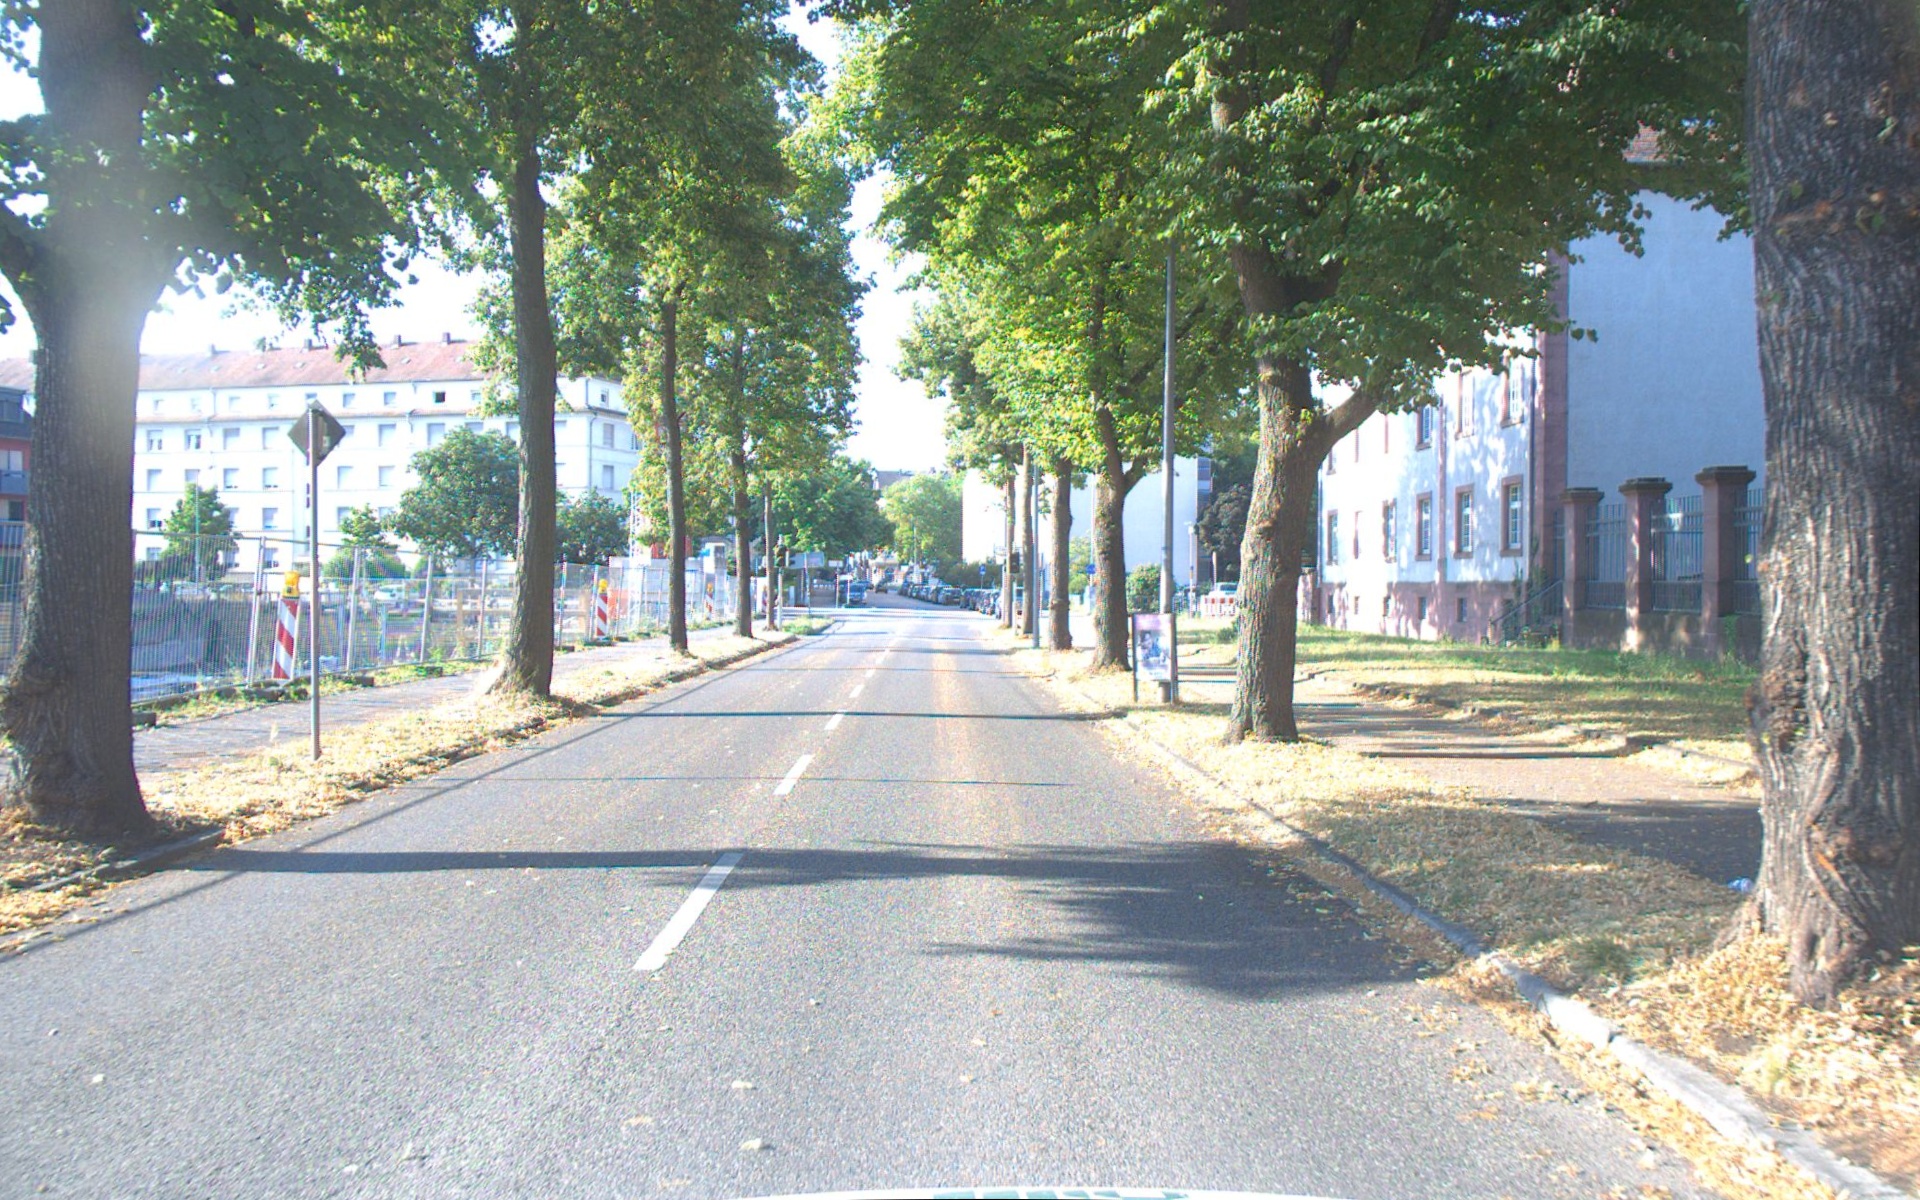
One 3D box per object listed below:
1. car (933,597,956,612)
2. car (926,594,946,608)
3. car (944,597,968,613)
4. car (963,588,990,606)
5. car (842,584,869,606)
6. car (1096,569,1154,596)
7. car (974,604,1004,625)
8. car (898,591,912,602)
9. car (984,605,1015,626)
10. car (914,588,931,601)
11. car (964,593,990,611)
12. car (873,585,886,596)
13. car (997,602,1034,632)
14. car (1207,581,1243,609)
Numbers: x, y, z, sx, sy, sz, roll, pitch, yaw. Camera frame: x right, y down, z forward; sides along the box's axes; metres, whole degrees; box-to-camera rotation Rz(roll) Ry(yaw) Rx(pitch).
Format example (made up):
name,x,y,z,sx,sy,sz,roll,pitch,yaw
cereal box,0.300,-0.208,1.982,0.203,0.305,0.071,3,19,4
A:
name,x,y,z,sx,sy,sz,roll,pitch,yaw
car,-1.471,0.410,155.430,1.805,1.410,3.996,-1,0,-4
car,-2.444,0.104,167.228,1.805,1.410,3.996,-1,0,-4
car,-0.335,0.438,144.537,1.805,1.410,3.996,-1,0,-4
car,1.177,-0.211,119.814,1.804,1.283,3.999,-1,0,-2
car,-8.349,-0.377,131.576,1.955,1.717,3.994,-1,0,-7
car,11.661,-1.220,117.049,3.905,1.758,1.773,1,0,0
car,1.886,0.934,109.081,1.804,1.283,3.999,-1,0,-2
car,-7.169,-0.416,217.387,1.804,1.410,3.998,-1,0,-2
car,2.466,0.933,103.589,1.743,1.248,3.999,-1,0,-2
car,-4.279,-0.589,188.039,1.805,1.410,3.996,-1,0,-4
car,1.303,0.163,126.277,1.804,1.283,3.999,-1,0,-2
car,-11.544,-1.341,237.859,1.680,1.512,3.996,-1,0,-5
car,3.090,0.924,92.476,1.804,1.601,3.999,-1,0,-2
car,16.744,-0.302,104.706,1.775,1.587,3.626,1,-1,1
